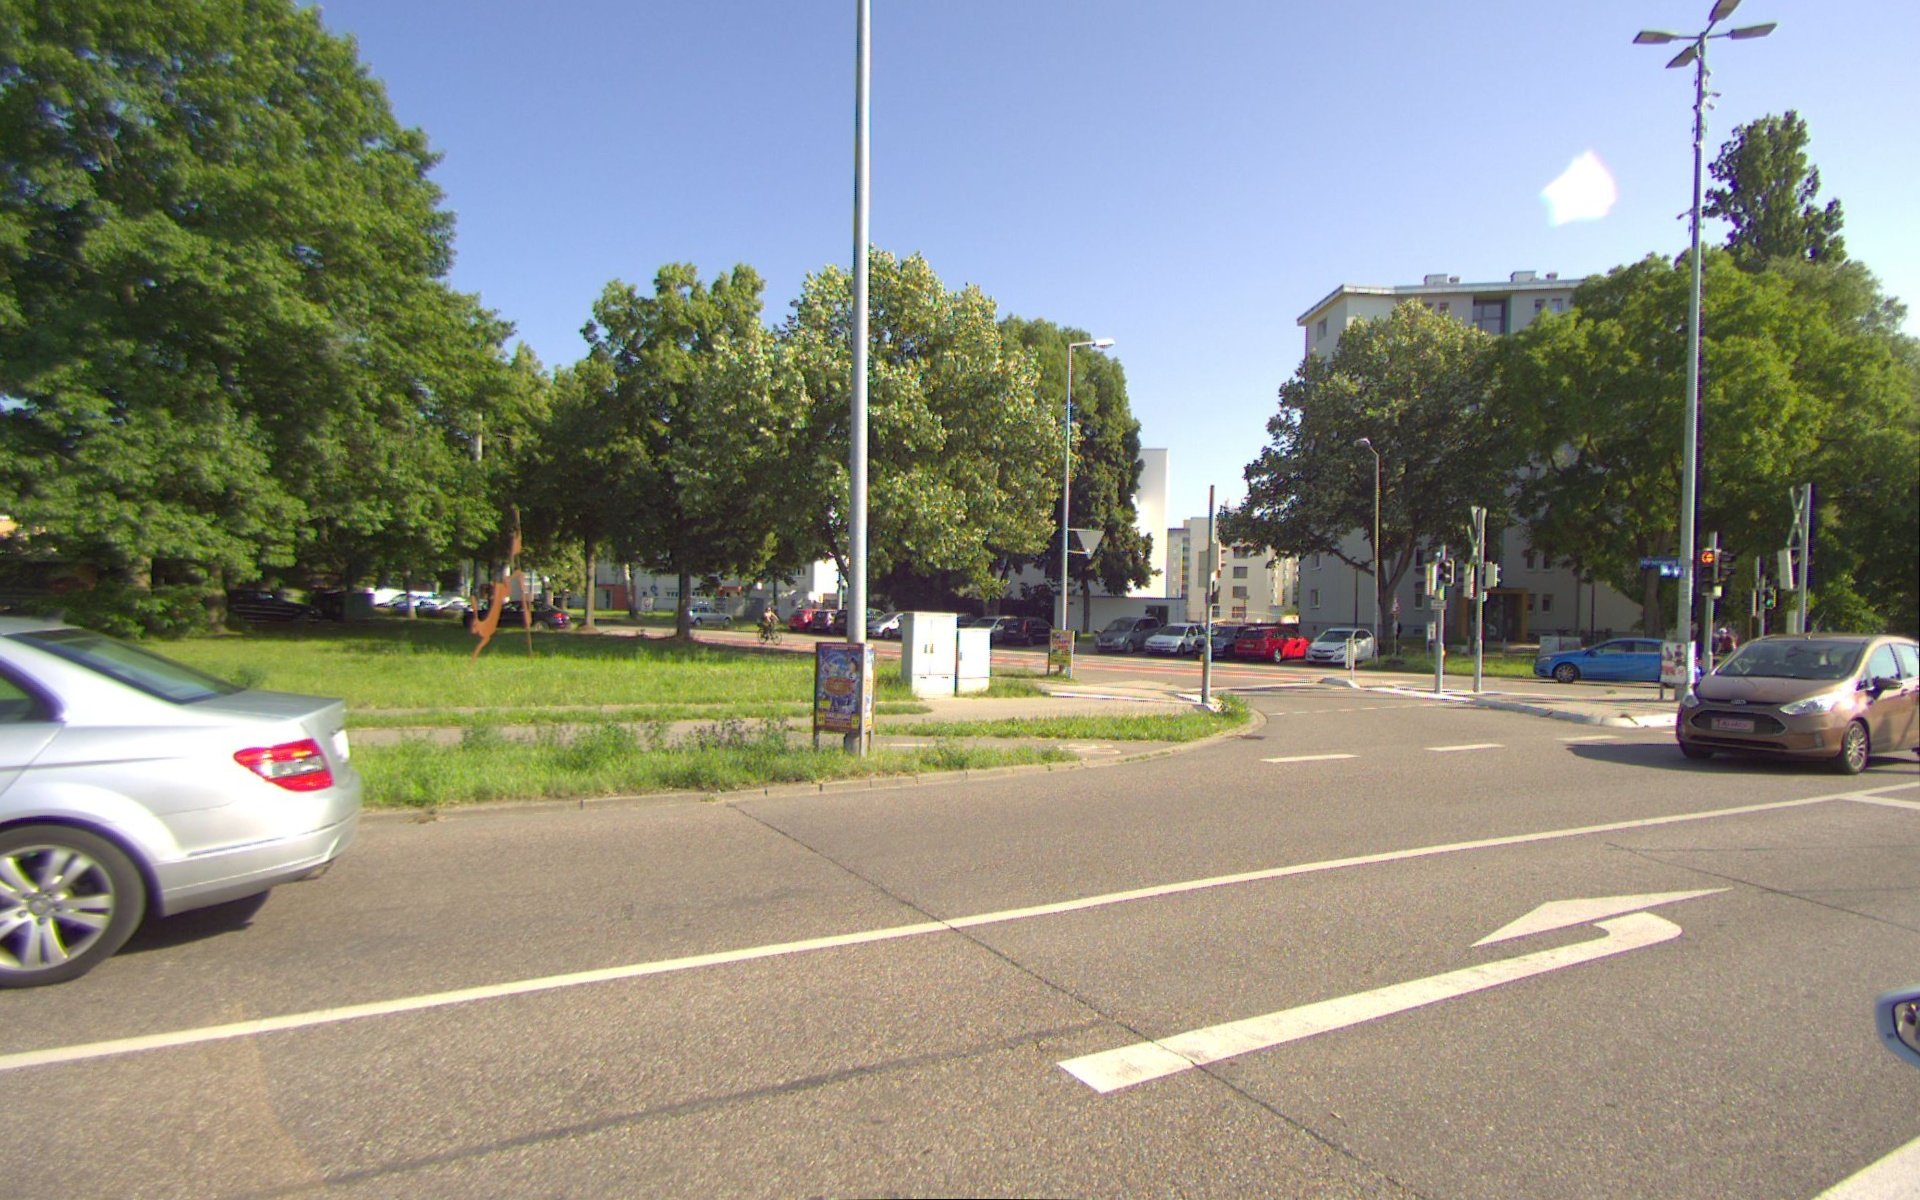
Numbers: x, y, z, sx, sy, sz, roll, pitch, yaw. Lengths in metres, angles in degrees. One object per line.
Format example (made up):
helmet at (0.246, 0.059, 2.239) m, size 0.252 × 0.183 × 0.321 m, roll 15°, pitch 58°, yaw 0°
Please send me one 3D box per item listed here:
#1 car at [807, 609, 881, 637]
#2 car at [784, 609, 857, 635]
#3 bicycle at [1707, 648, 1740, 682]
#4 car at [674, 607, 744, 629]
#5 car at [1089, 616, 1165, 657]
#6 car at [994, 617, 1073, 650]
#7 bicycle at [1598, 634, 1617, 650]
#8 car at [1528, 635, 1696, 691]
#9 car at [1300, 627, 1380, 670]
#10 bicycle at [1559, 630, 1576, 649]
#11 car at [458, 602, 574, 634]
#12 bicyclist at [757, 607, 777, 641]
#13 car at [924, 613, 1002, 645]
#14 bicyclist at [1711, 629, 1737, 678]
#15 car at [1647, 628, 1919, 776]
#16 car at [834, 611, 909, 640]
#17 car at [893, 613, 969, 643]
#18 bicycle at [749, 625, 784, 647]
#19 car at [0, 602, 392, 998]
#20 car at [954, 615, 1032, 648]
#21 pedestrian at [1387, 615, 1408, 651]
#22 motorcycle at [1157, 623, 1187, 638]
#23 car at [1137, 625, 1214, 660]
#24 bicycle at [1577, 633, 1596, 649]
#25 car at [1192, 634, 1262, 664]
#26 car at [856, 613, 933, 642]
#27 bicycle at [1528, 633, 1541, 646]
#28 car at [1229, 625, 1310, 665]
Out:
car at (-7.316, 1.435, 63.863) m, size 1.758 × 1.497 × 4.790 m, roll 1°, pitch 2°, yaw 40°
car at (-9.058, 1.400, 65.357) m, size 1.758 × 1.497 × 4.790 m, roll 1°, pitch 2°, yaw 40°
bicycle at (25.466, 2.156, 33.509) m, size 0.613 × 1.054 × 2.059 m, roll 1°, pitch -1°, yaw 44°
car at (-18.334, 1.364, 73.467) m, size 1.761 × 1.497 × 4.784 m, roll 1°, pitch -1°, yaw 44°
car at (8.192, 1.774, 49.154) m, size 1.760 × 1.835 × 3.978 m, roll 1°, pitch -1°, yaw 42°
car at (4.006, 1.751, 53.970) m, size 1.758 × 1.497 × 4.790 m, roll 1°, pitch 2°, yaw 40°
bicycle at (38.331, 2.477, 59.474) m, size 0.658 × 0.932 × 2.404 m, roll 1°, pitch 0°, yaw 26°
car at (19.752, 1.864, 30.595) m, size 4.172 × 1.433 × 1.781 m, roll 1°, pitch -1°, yaw 33°
car at (15.901, 1.994, 41.955) m, size 1.760 × 1.459 × 3.976 m, roll 1°, pitch 2°, yaw 43°
bicycle at (36.425, 2.401, 60.237) m, size 0.601 × 1.080 × 1.916 m, roll 2°, pitch -2°, yaw 24°
car at (-20.761, 0.842, 47.118) m, size 4.682 × 1.338 × 1.524 m, roll 2°, pitch 0°, yaw -7°
bicyclist at (-8.912, 1.082, 46.325) m, size 0.617 × 1.544 × 0.616 m, roll 2°, pitch 1°, yaw 37°
car at (0.232, 1.596, 56.755) m, size 1.758 × 1.497 × 4.790 m, roll 1°, pitch 3°, yaw 40°
bicyclist at (25.540, 1.786, 33.573) m, size 0.599 × 1.581 × 0.601 m, roll 2°, pitch 0°, yaw -44°
car at (10.543, 1.174, 12.468) m, size 3.951 × 1.582 × 1.738 m, roll 2°, pitch -2°, yaw -29°
car at (-5.369, 1.524, 61.581) m, size 1.758 × 1.497 × 4.790 m, roll 1°, pitch 2°, yaw 40°
car at (-1.646, 1.588, 58.359) m, size 1.758 × 1.497 × 4.754 m, roll 1°, pitch 2°, yaw 40°
bicycle at (-8.944, 1.665, 46.323) m, size 1.783 × 0.915 × 0.651 m, roll 1°, pitch 0°, yaw 42°
car at (-4.824, 0.742, 4.069) m, size 4.316 × 1.484 × 1.695 m, roll 2°, pitch -2°, yaw -29°
car at (1.860, 1.663, 54.655) m, size 1.758 × 1.497 × 4.691 m, roll 1°, pitch 3°, yaw 40°
pedestrian at (21.319, 1.622, 48.949) m, size 0.693 × 1.736 × 0.623 m, roll 1°, pitch 0°, yaw -17°
motorcycle at (14.743, 2.136, 69.851) m, size 2.003 × 0.977 × 0.527 m, roll 1°, pitch 0°, yaw 5°
car at (10.185, 1.978, 47.287) m, size 1.760 × 1.541 × 3.978 m, roll 1°, pitch -1°, yaw 42°
bicycle at (37.388, 2.454, 59.962) m, size 0.663 × 0.887 × 2.482 m, roll 1°, pitch 0°, yaw 26°
car at (12.091, 2.194, 45.372) m, size 1.445 × 1.209 × 3.764 m, roll 1°, pitch -1°, yaw 44°
car at (-3.826, 1.599, 59.634) m, size 1.758 × 1.497 × 4.790 m, roll 1°, pitch 2°, yaw 40°
bicycle at (35.046, 2.396, 61.296) m, size 0.574 × 0.718 × 2.236 m, roll 2°, pitch 0°, yaw 26°
car at (13.605, 1.936, 44.031) m, size 1.761 × 1.435 × 3.974 m, roll 1°, pitch 3°, yaw 45°
